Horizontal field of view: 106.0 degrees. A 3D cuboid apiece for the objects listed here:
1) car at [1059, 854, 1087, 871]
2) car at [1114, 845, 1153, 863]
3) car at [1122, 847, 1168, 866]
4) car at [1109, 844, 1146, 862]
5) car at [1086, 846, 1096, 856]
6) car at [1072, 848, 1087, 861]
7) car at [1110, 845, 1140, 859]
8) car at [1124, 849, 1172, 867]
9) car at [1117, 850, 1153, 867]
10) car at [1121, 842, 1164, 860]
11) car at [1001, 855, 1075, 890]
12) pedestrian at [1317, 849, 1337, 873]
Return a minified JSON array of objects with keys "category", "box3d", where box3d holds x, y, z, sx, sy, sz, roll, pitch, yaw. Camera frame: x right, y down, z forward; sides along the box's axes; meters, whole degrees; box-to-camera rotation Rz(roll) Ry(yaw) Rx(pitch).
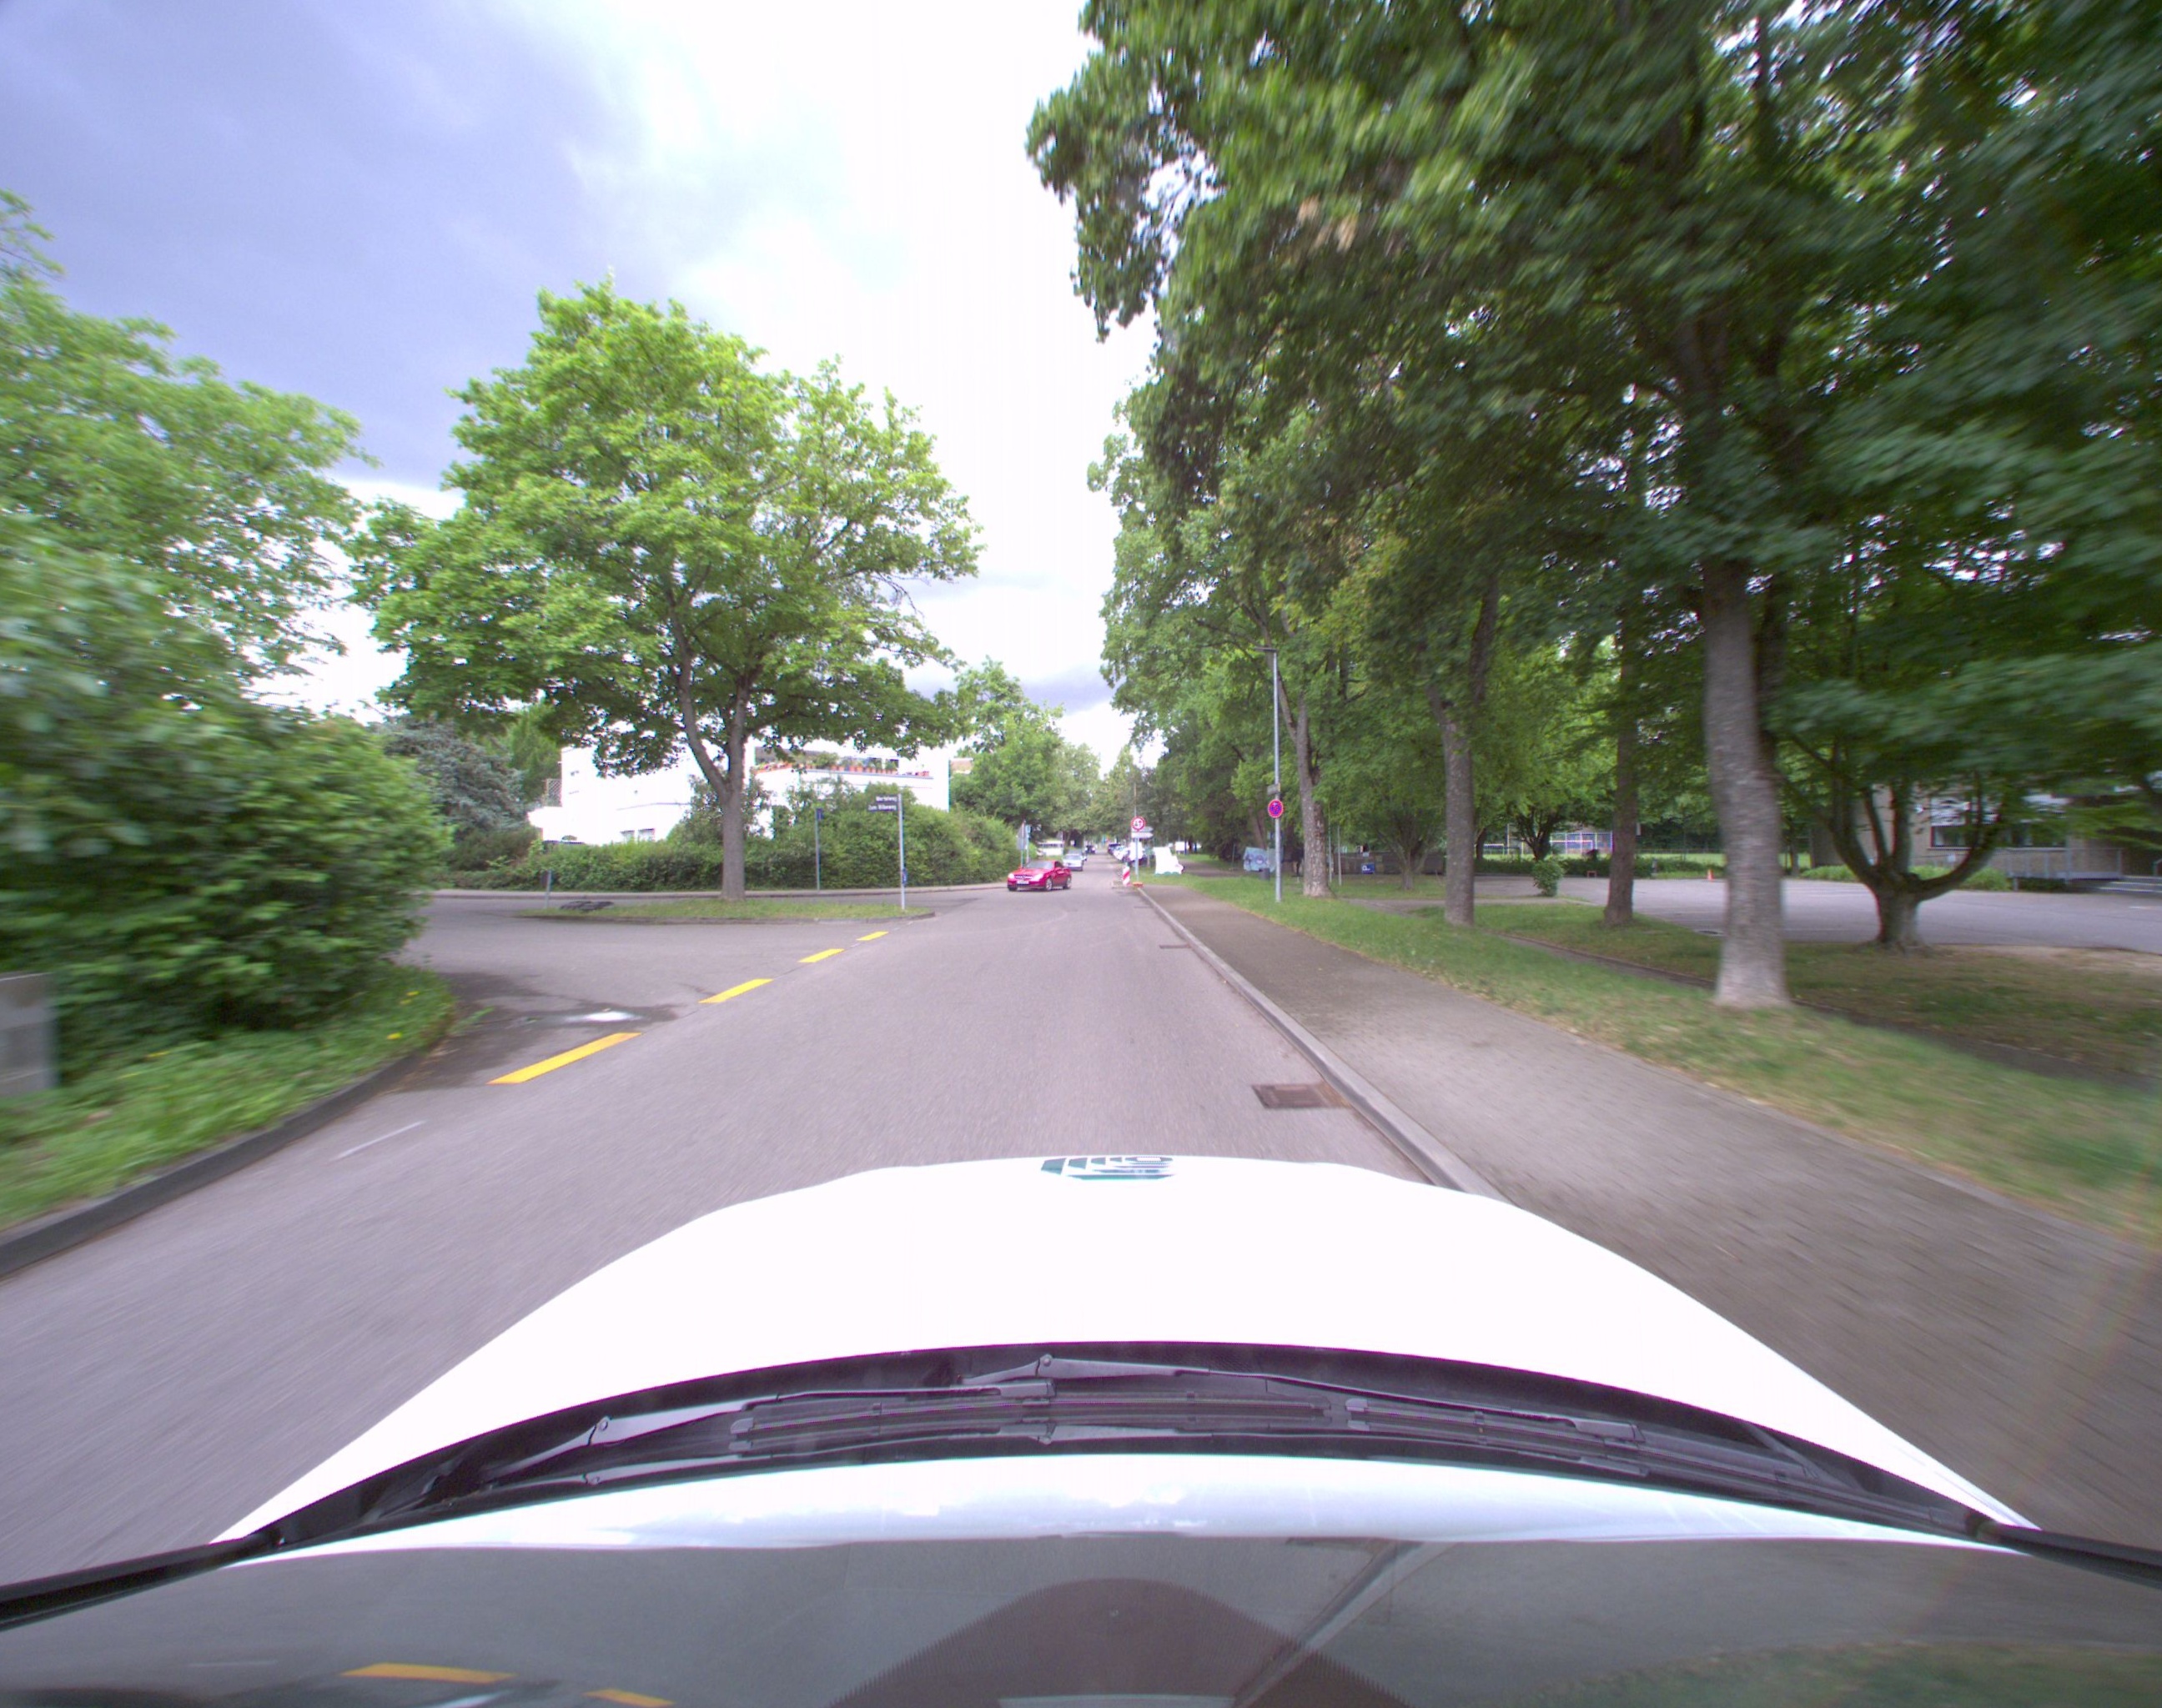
[{"category":"car","box3d":[-0.577,0.663,65.813,1.772,1.306,4.303,0,0,6]},{"category":"car","box3d":[5.734,0.016,89.950,4.053,1.687,1.821,-4,0,-3]},{"category":"car","box3d":[5.882,0.258,74.770,4.050,1.568,1.822,-2,-1,0]},{"category":"car","box3d":[5.315,-0.138,93.979,4.053,1.687,1.821,-4,0,-3]},{"category":"car","box3d":[1.877,-0.598,156.949,1.962,1.747,4.338,0,0,0]},{"category":"car","box3d":[-0.197,0.021,105.446,1.798,1.591,4.293,0,0,-2]},{"category":"car","box3d":[6.456,-0.253,119.236,4.053,1.687,1.821,-4,0,-3]},{"category":"car","box3d":[5.929,0.341,72.254,4.050,1.434,2.000,-2,-1,0]},{"category":"car","box3d":[6.500,0.560,98.677,4.053,1.687,1.821,-4,0,-3]},{"category":"car","box3d":[5.977,-0.310,79.977,4.050,1.568,1.822,-2,0,0]},{"category":"car","box3d":[-1.706,0.727,33.871,1.737,1.335,4.083,0,0,17]},{"category":"pedestrian","box3d":[17.502,0.506,57.961,1.137,1.674,0.798,-3,-2,26]}]
